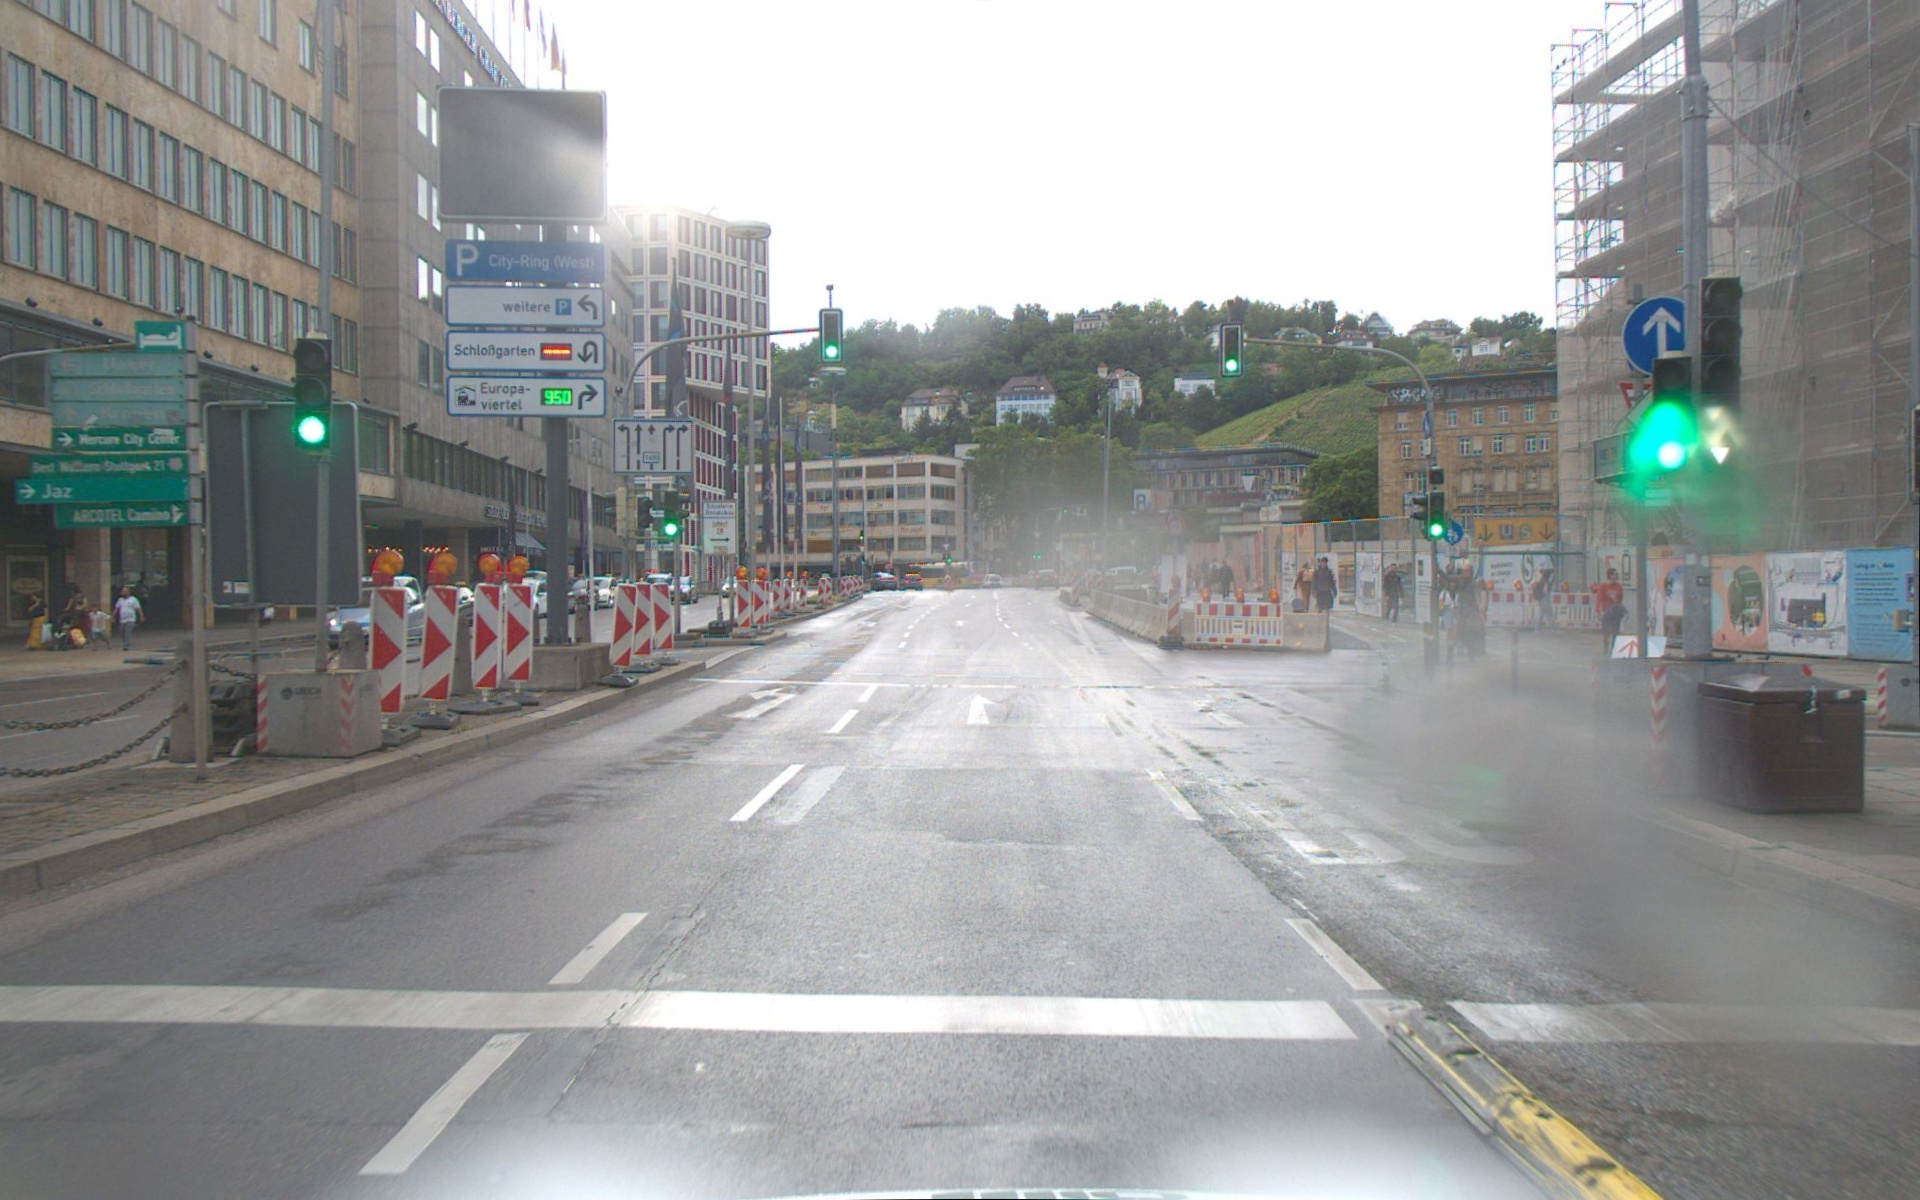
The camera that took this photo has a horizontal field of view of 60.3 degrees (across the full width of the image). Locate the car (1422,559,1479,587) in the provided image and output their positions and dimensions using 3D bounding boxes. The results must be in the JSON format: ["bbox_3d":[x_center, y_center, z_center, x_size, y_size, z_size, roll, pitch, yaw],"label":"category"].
[{"bbox_3d":[37.028,-2.028,124.970,3.902,2.049,2.002,-1,0,8],"label":"car"}]

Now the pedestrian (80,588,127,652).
[{"bbox_3d":[-21.851,0.503,42.219,0.706,1.584,0.905,-1,0,0],"label":"pedestrian"}]

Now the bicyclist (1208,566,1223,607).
[{"bbox_3d":[12.802,-0.658,82.816,0.628,2.049,0.656,-1,0,3],"label":"bicyclist"}]

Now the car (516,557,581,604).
[{"bbox_3d":[-18.716,-0.891,75.317,1.953,2.049,4.000,-1,0,0],"label":"car"}]

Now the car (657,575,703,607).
[{"bbox_3d":[-16.161,-0.508,95.716,1.953,1.780,4.000,-1,0,0],"label":"car"}]

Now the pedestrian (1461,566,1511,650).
[{"bbox_3d":[10.402,0.159,32.683,0.779,1.636,0.835,-1,0,28],"label":"pedestrian"}]

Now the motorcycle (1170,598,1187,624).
[{"bbox_3d":[6.315,0.319,47.773,0.363,0.734,0.922,1,1,1],"label":"motorcycle"}]

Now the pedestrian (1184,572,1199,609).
[{"bbox_3d":[11.703,-0.494,83.756,0.674,1.873,0.615,-1,0,4],"label":"pedestrian"}]

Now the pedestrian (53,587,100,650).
[{"bbox_3d":[-22.723,0.463,42.552,0.706,1.584,0.895,-1,0,0],"label":"pedestrian"}]

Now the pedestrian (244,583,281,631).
[{"bbox_3d":[-23.033,0.235,54.632,0.778,1.553,0.916,-1,0,1],"label":"pedestrian"}]

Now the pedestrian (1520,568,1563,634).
[{"bbox_3d":[15.113,0.022,42.992,0.847,1.690,0.797,-1,0,1],"label":"pedestrian"}]

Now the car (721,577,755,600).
[{"bbox_3d":[-16.295,-0.843,121.387,1.953,1.646,4.000,-1,1,0],"label":"car"}]

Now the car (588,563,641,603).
[{"bbox_3d":[-18.805,-0.918,90.260,1.953,2.049,4.416,-1,0,0],"label":"car"}]

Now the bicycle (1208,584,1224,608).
[{"bbox_3d":[12.809,-0.206,82.827,0.631,1.157,1.764,-1,0,4],"label":"bicycle"}]

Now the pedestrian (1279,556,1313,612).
[{"bbox_3d":[11.515,-0.546,56.659,0.928,1.873,0.867,-1,0,-4],"label":"pedestrian"}]

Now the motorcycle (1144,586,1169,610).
[{"bbox_3d":[5.841,-0.060,49.128,0.394,0.694,0.918,1,1,-17],"label":"motorcycle"}]

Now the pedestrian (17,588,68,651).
[{"bbox_3d":[-23.579,0.493,42.524,0.706,1.584,1.005,-1,0,0],"label":"pedestrian"}]

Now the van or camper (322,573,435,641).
[{"bbox_3d":[-18.608,0.209,53.147,1.953,2.049,4.964,-1,0,-1],"label":"van or camper"}]

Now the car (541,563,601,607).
[{"bbox_3d":[-18.762,-0.706,79.971,1.953,2.049,4.000,-1,0,0],"label":"car"}]

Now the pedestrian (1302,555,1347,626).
[{"bbox_3d":[9.734,-0.251,44.130,0.928,1.873,0.945,-1,0,29],"label":"pedestrian"}]

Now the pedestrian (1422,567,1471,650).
[{"bbox_3d":[9.746,0.177,33.152,0.779,1.636,0.835,-1,0,27],"label":"pedestrian"}]

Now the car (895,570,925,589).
[{"bbox_3d":[-4.454,-1.792,146.850,1.959,1.579,3.988,-1,0,-12],"label":"car"}]

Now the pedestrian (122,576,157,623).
[{"bbox_3d":[-27.462,-0.012,55.381,0.778,1.553,0.716,-1,0,1],"label":"pedestrian"}]

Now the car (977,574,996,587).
[{"bbox_3d":[3.120,-2.335,193.568,1.954,1.467,3.998,1,1,-3],"label":"car"}]

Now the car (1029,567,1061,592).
[{"bbox_3d":[6.245,-1.496,122.140,1.953,1.735,3.998,-1,0,-2],"label":"car"}]

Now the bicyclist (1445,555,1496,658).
[{"bbox_3d":[9.423,0.110,30.533,0.688,1.877,0.968,0,0,3],"label":"bicyclist"}]

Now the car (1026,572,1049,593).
[{"bbox_3d":[6.539,-1.487,140.151,1.739,1.668,4.000,-1,1,0],"label":"car"}]

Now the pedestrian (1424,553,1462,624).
[{"bbox_3d":[12.886,-0.300,44.125,0.846,1.873,0.798,-1,0,9],"label":"pedestrian"}]

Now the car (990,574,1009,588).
[{"bbox_3d":[4.286,-2.036,179.979,1.783,1.467,3.999,1,1,-2],"label":"car"}]

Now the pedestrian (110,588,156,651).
[{"bbox_3d":[-21.120,0.497,42.237,0.706,1.584,0.895,-1,0,0],"label":"pedestrian"}]

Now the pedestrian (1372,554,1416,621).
[{"bbox_3d":[12.342,-0.353,47.024,0.852,1.873,0.944,-1,0,42],"label":"pedestrian"}]

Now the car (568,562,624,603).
[{"bbox_3d":[-18.773,-0.876,85.451,1.953,2.049,4.000,-1,0,0],"label":"car"}]

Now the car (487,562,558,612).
[{"bbox_3d":[-18.777,-0.558,71.149,1.953,2.049,4.163,-1,0,0],"label":"car"}]

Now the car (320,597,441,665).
[{"bbox_3d":[-15.080,0.764,43.264,1.732,1.637,4.225,-1,0,-1],"label":"car"}]

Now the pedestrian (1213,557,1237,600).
[{"bbox_3d":[11.701,-0.934,73.070,0.926,1.873,0.868,-1,0,5],"label":"pedestrian"}]

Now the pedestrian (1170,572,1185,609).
[{"bbox_3d":[11.010,-0.466,83.802,0.674,1.873,0.615,-1,0,4],"label":"pedestrian"}]

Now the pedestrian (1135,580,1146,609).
[{"bbox_3d":[11.518,-0.353,105.530,0.674,1.873,0.615,-1,0,4],"label":"pedestrian"}]

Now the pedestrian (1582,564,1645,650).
[{"bbox_3d":[12.718,0.130,32.212,0.755,1.636,0.860,-1,0,-16],"label":"pedestrian"}]

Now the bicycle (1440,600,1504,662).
[{"bbox_3d":[9.426,0.560,30.506,0.692,1.068,1.807,0,1,3],"label":"bicycle"}]
